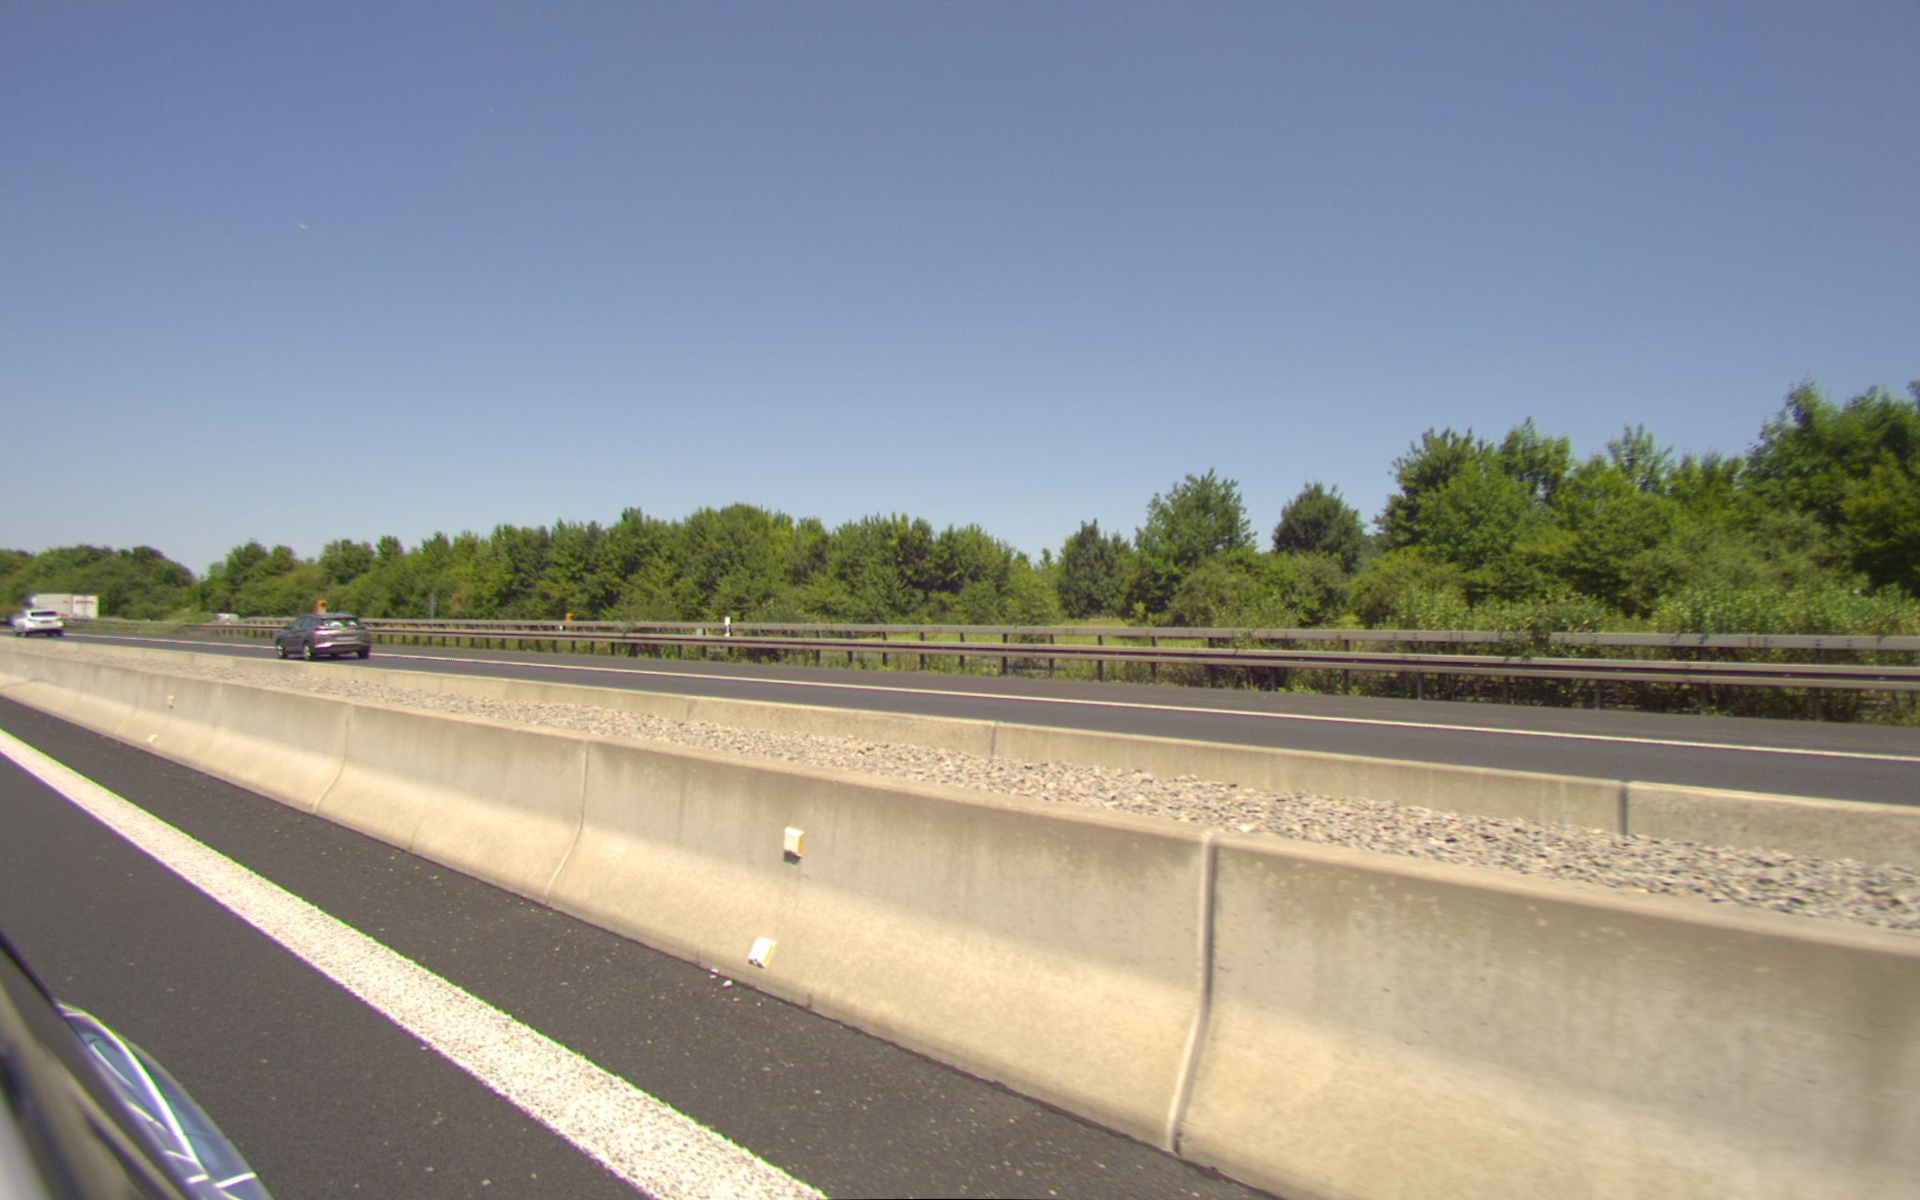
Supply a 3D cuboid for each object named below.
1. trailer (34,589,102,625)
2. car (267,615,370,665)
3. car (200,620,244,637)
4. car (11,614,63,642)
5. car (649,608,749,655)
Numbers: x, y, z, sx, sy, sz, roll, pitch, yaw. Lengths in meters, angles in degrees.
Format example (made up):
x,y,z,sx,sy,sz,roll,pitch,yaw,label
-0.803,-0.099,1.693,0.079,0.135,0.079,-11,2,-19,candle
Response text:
x,y,z,sx,sy,sz,roll,pitch,yaw,label
-106.081,0.822,120.182,14.057,4.027,3.080,0,-1,36,trailer
-21.341,1.284,33.600,4.258,1.544,1.710,-1,0,40,car
-65.714,2.522,90.037,4.863,1.470,1.974,0,-2,39,car
-57.428,1.700,62.932,4.925,1.644,1.769,-1,-1,40,car
-10.471,1.228,40.519,3.998,1.780,1.973,0,-1,41,car
